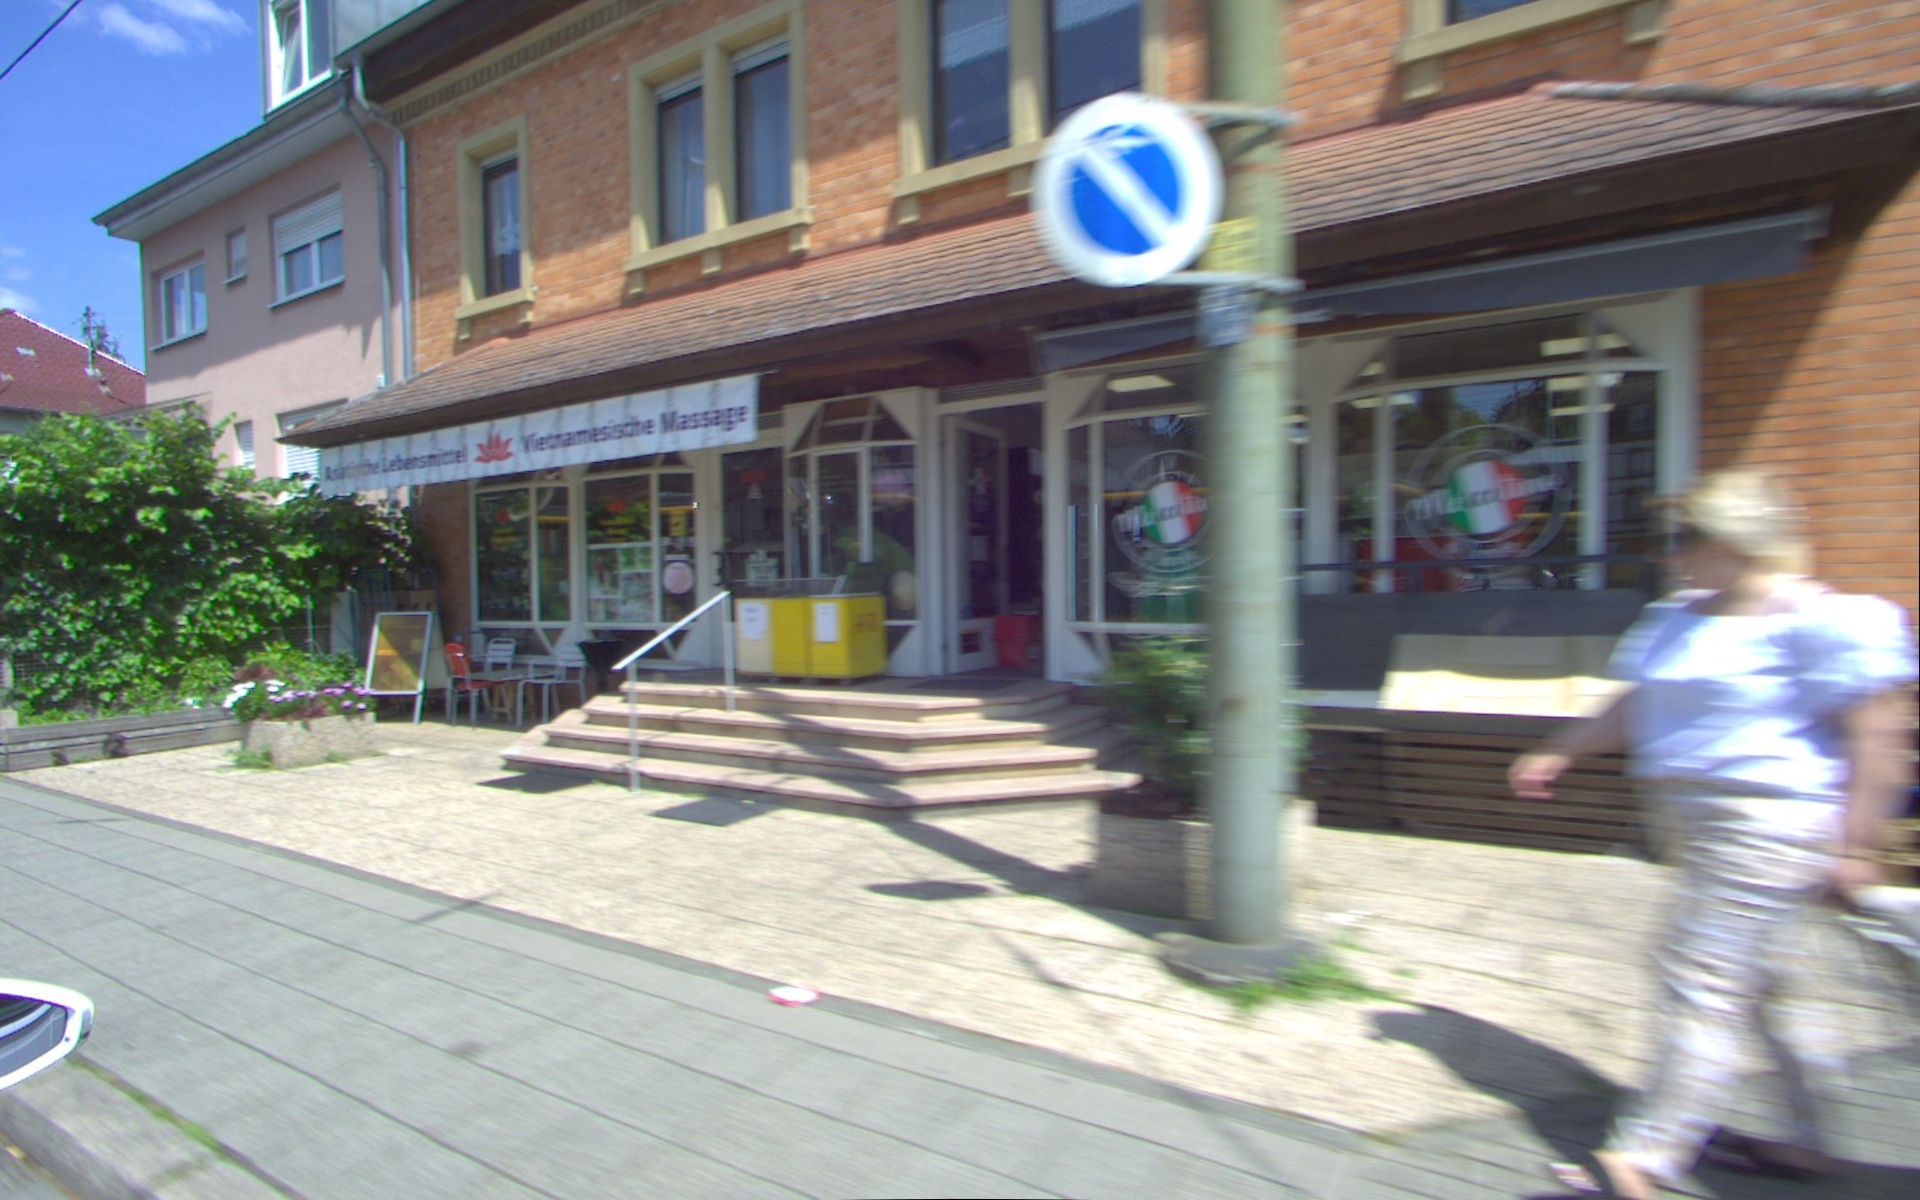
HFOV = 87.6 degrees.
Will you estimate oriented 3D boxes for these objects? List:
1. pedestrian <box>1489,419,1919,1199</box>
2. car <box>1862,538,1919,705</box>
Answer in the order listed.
[{"bbox_3d":[1.704,0.475,2.324,0.647,1.664,0.706,1,3,14],"label":"pedestrian"},{"bbox_3d":[11.468,0.228,10.472,1.879,1.886,5.047,-1,0,29],"label":"car"}]
